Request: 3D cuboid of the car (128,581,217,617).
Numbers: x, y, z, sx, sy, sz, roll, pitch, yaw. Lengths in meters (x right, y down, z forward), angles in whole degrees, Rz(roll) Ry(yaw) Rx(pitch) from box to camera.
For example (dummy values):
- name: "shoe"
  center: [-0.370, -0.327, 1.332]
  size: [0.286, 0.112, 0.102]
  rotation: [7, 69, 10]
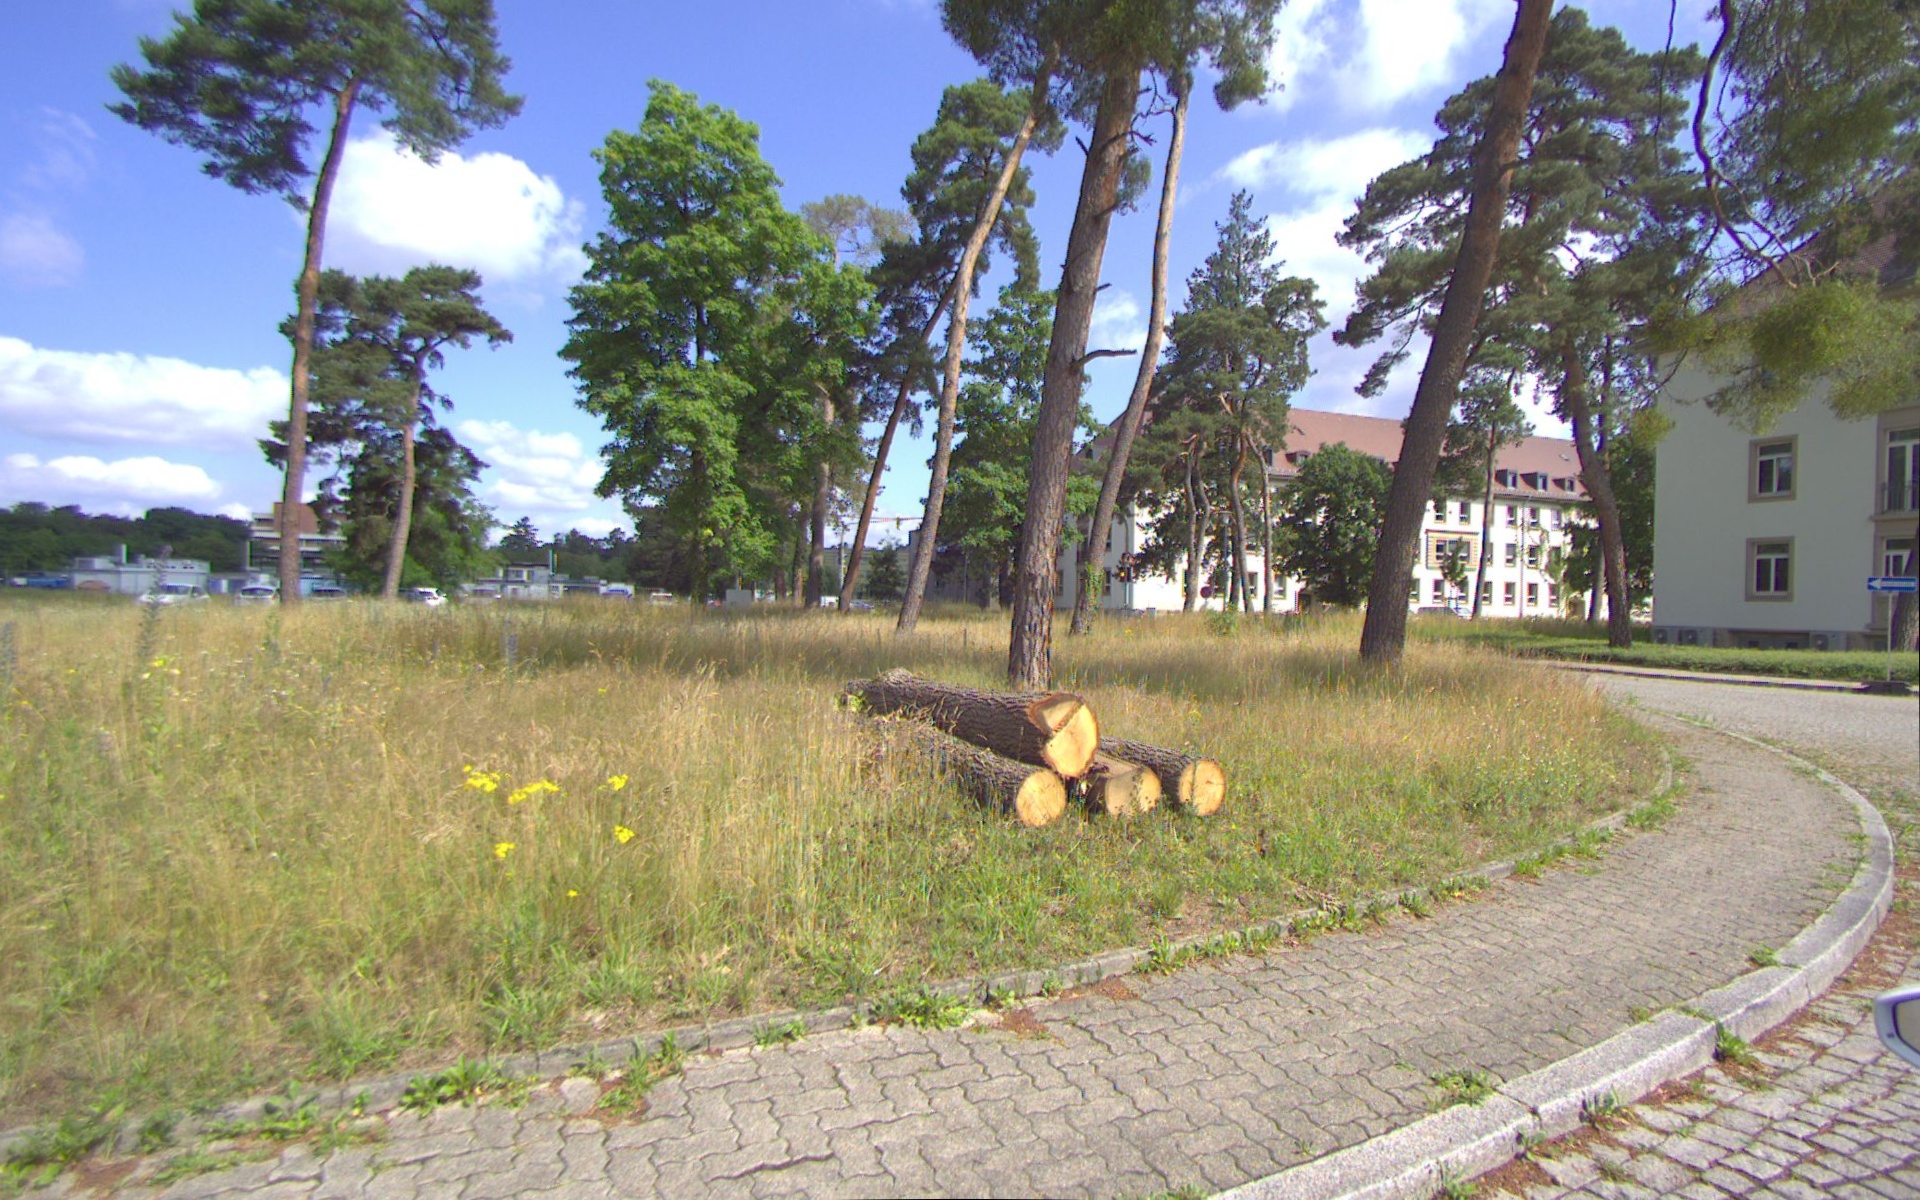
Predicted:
- name: "car"
  center: [-32.613, -0.030, 41.730]
  size: [1.873, 1.367, 4.049]
  rotation: [1, -1, -23]

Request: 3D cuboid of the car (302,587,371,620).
- name: "car"
  center: [-27.160, 0.148, 43.862]
  size: [1.873, 1.337, 4.057]
  rotation: [1, -1, -23]

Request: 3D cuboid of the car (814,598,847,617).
- name: "car"
  center: [-14.928, 0.844, 115.542]
  size: [3.628, 2.116, 1.726]
  rotation: [1, 0, -13]

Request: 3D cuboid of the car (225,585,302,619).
- name: "car"
  center: [-29.881, 0.077, 43.199]
  size: [1.873, 1.356, 4.057]
  rotation: [1, -1, -23]

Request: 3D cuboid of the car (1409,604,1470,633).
- name: "car"
  center: [35.676, 1.361, 74.837]
  size: [1.687, 2.018, 4.053]
  rotation: [1, -1, -21]

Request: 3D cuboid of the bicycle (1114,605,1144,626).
- name: "bicycle"
  center: [9.498, 0.871, 56.539]
  size: [1.558, 1.115, 0.490]
  rotation: [1, 0, -11]

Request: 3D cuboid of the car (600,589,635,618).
- name: "car"
  center: [-22.352, 0.247, 65.432]
  size: [1.873, 1.804, 4.057]
  rotation: [1, -1, -23]

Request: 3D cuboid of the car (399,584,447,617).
- name: "car"
  center: [-29.225, 0.047, 54.801]
  size: [1.873, 1.725, 4.057]
  rotation: [1, -1, -23]

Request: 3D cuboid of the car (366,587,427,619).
- name: "car"
  center: [-24.879, 0.146, 44.476]
  size: [1.873, 1.327, 4.057]
  rotation: [1, -1, -23]
